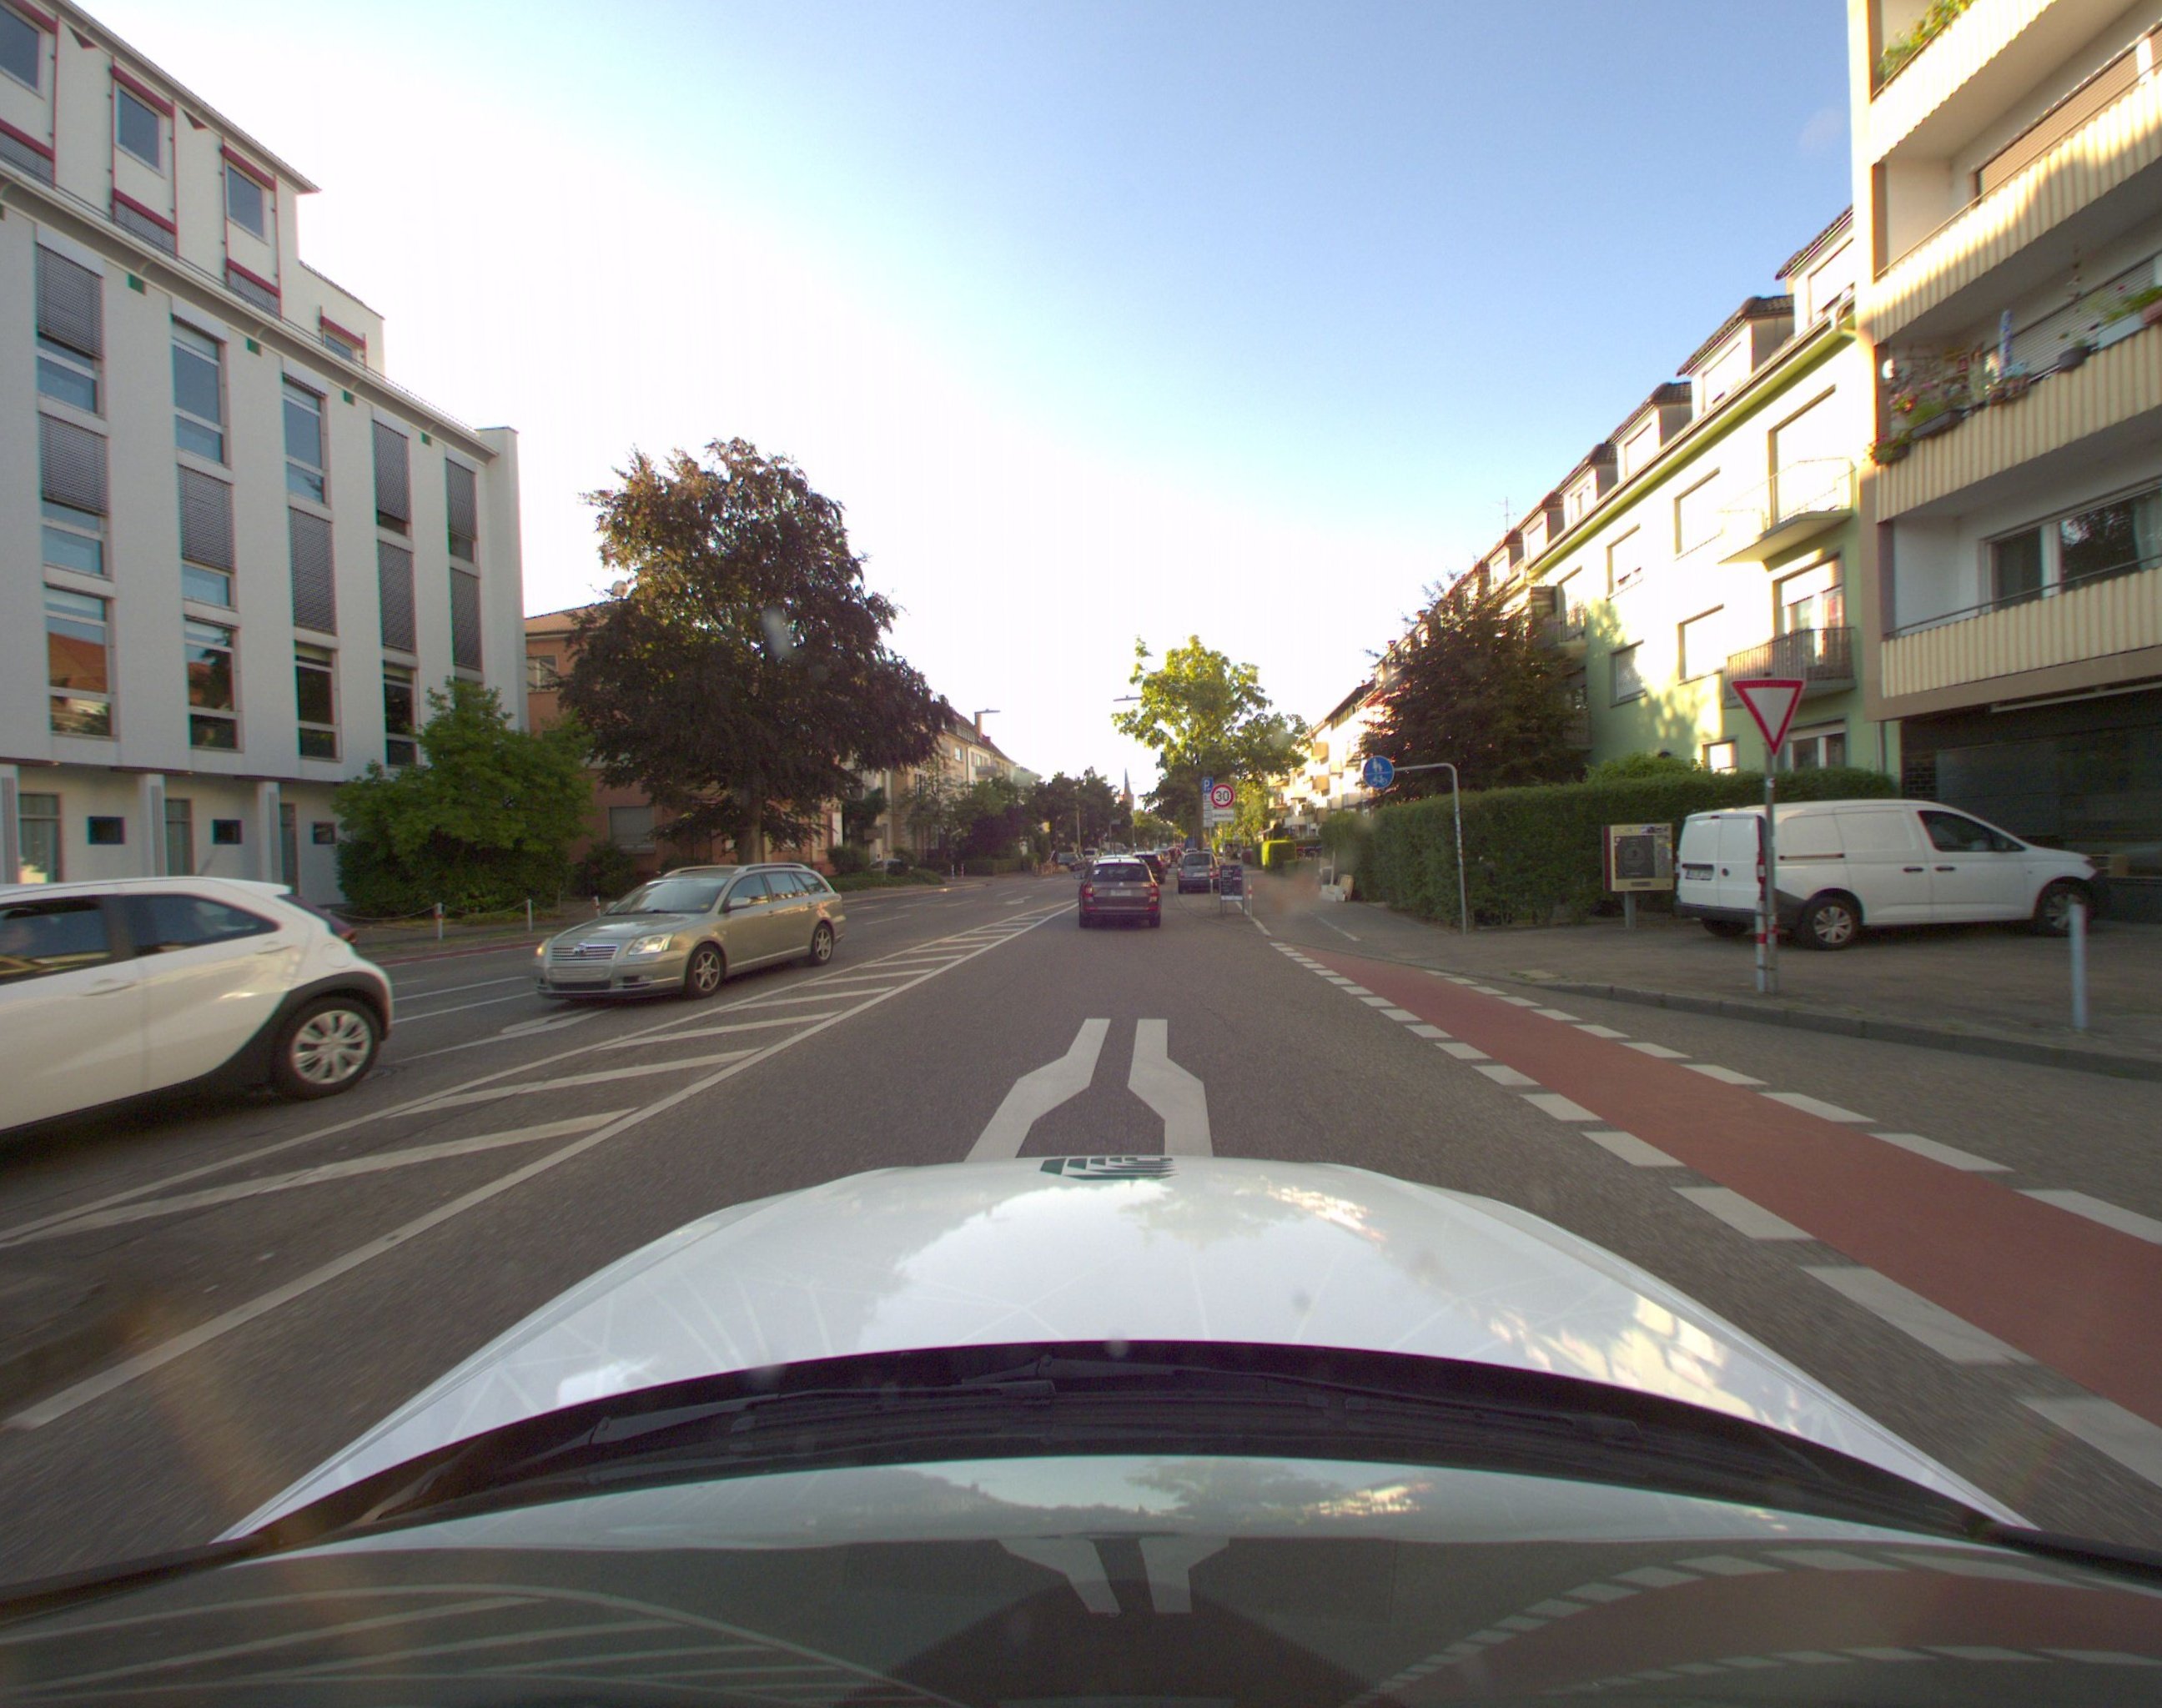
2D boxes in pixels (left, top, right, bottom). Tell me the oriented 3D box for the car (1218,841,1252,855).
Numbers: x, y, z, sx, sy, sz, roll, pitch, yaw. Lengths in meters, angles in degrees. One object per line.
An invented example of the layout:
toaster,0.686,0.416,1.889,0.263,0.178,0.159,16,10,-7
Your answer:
car,21.981,-0.838,116.256,4.549,1.892,1.901,-2,1,-20

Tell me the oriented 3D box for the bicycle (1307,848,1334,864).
bicycle,13.098,0.103,44.550,1.362,0.854,0.369,-2,1,8

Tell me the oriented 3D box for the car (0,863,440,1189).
car,-5.963,0.864,4.238,1.818,1.460,3.910,-2,1,7

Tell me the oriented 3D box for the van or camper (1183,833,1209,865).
van or camper,10.090,-0.410,71.669,2.056,2.675,6.002,-2,0,8

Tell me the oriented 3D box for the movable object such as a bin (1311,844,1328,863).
movable object such as a bin,13.378,-0.036,45.742,0.772,1.002,0.798,-2,1,7

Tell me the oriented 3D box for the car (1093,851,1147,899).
car,1.421,0.677,28.947,1.722,1.493,3.955,-2,1,4

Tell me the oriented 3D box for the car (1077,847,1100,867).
car,0.830,0.259,84.550,1.760,1.919,4.469,-2,1,8

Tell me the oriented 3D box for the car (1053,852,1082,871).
car,-1.114,0.612,69.021,1.740,1.502,4.206,-2,1,7

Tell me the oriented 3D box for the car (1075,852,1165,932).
car,0.762,0.762,18.239,1.724,1.493,3.949,-2,1,-1

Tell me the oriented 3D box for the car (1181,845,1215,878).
car,6.395,0.371,44.846,1.723,1.651,4.301,-2,1,7

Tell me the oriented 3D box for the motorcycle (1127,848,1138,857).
motorcycle,9.030,-0.227,143.078,0.770,1.511,2.008,-2,1,-35

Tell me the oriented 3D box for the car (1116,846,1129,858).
car,6.591,-0.347,128.203,1.741,1.740,3.599,-2,1,7

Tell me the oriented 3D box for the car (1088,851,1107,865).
car,1.858,0.399,92.056,1.707,1.421,3.795,-2,1,8

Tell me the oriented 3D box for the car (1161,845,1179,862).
car,9.532,-0.044,87.049,1.723,1.651,3.549,-2,1,7

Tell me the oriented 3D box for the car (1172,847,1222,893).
car,4.410,0.565,31.049,1.723,1.551,3.654,-2,1,7

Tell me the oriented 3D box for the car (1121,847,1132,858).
car,7.478,-0.248,132.808,1.499,1.757,3.701,-2,1,7

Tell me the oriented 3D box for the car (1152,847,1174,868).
car,6.999,0.292,69.621,1.723,1.651,3.549,-2,1,7

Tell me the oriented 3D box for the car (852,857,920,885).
car,-11.544,1.023,48.455,3.482,1.486,1.817,-2,1,3

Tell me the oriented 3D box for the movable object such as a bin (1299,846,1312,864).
movable object such as a bin,12.632,0.038,45.846,0.579,1.002,0.798,-2,1,7

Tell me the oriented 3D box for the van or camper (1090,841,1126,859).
van or camper,5.932,-0.914,179.964,7.603,3.874,2.003,-2,1,5

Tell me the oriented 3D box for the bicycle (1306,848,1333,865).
bicycle,13.169,0.134,45.002,1.352,0.854,0.366,-2,1,7

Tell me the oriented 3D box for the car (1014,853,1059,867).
car,-4.831,0.611,87.217,4.704,1.362,1.996,-2,1,-6

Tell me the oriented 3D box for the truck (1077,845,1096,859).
truck,0.867,-0.329,130.279,2.898,2.093,1.549,-2,1,7

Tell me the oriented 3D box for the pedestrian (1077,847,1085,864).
pedestrian,-0.023,0.180,98.150,0.763,2.013,0.978,-2,1,7

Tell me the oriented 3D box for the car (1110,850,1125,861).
car,5.168,0.135,115.071,1.744,1.420,4.436,-2,1,8

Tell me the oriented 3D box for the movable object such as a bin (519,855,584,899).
movable object such as a bin,-20.980,0.898,32.288,1.493,1.651,1.461,-2,1,10

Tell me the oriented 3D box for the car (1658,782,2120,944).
car,10.277,0.107,10.662,4.069,1.814,1.864,-2,1,4

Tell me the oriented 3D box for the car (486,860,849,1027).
car,-4.805,0.926,10.428,1.818,1.514,4.614,-2,1,7

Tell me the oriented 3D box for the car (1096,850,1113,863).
car,2.989,0.351,103.667,1.707,1.497,4.257,-2,1,8
